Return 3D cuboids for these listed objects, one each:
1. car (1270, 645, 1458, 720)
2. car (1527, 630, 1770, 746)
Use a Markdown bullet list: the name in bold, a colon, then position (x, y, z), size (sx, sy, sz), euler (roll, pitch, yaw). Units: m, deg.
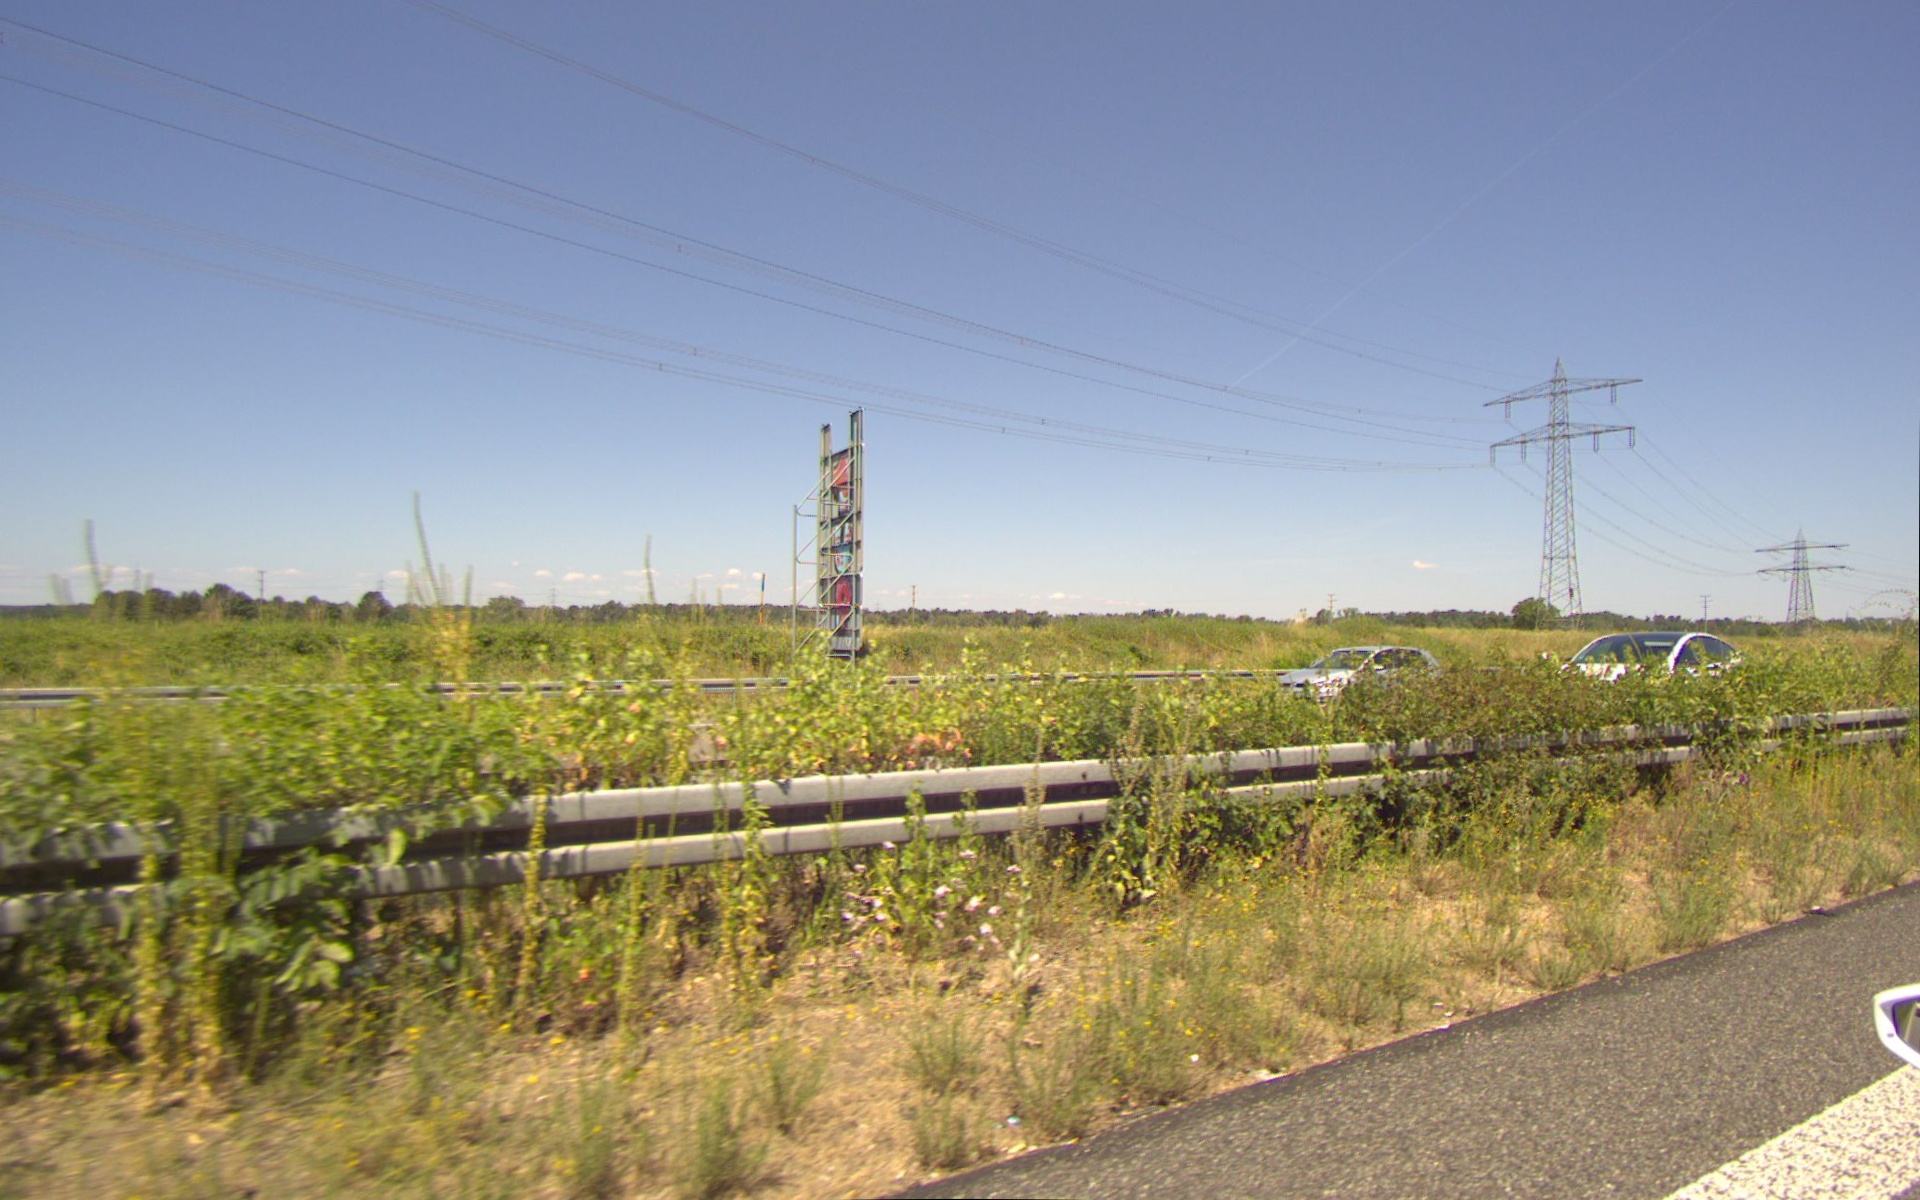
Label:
- **car**: position (8.733, 1.704, 21.601), size (4.223, 1.453, 1.586), euler (2, -2, -32)
- **car**: position (11.495, 1.378, 16.715), size (4.223, 1.706, 1.803), euler (2, -2, -32)
